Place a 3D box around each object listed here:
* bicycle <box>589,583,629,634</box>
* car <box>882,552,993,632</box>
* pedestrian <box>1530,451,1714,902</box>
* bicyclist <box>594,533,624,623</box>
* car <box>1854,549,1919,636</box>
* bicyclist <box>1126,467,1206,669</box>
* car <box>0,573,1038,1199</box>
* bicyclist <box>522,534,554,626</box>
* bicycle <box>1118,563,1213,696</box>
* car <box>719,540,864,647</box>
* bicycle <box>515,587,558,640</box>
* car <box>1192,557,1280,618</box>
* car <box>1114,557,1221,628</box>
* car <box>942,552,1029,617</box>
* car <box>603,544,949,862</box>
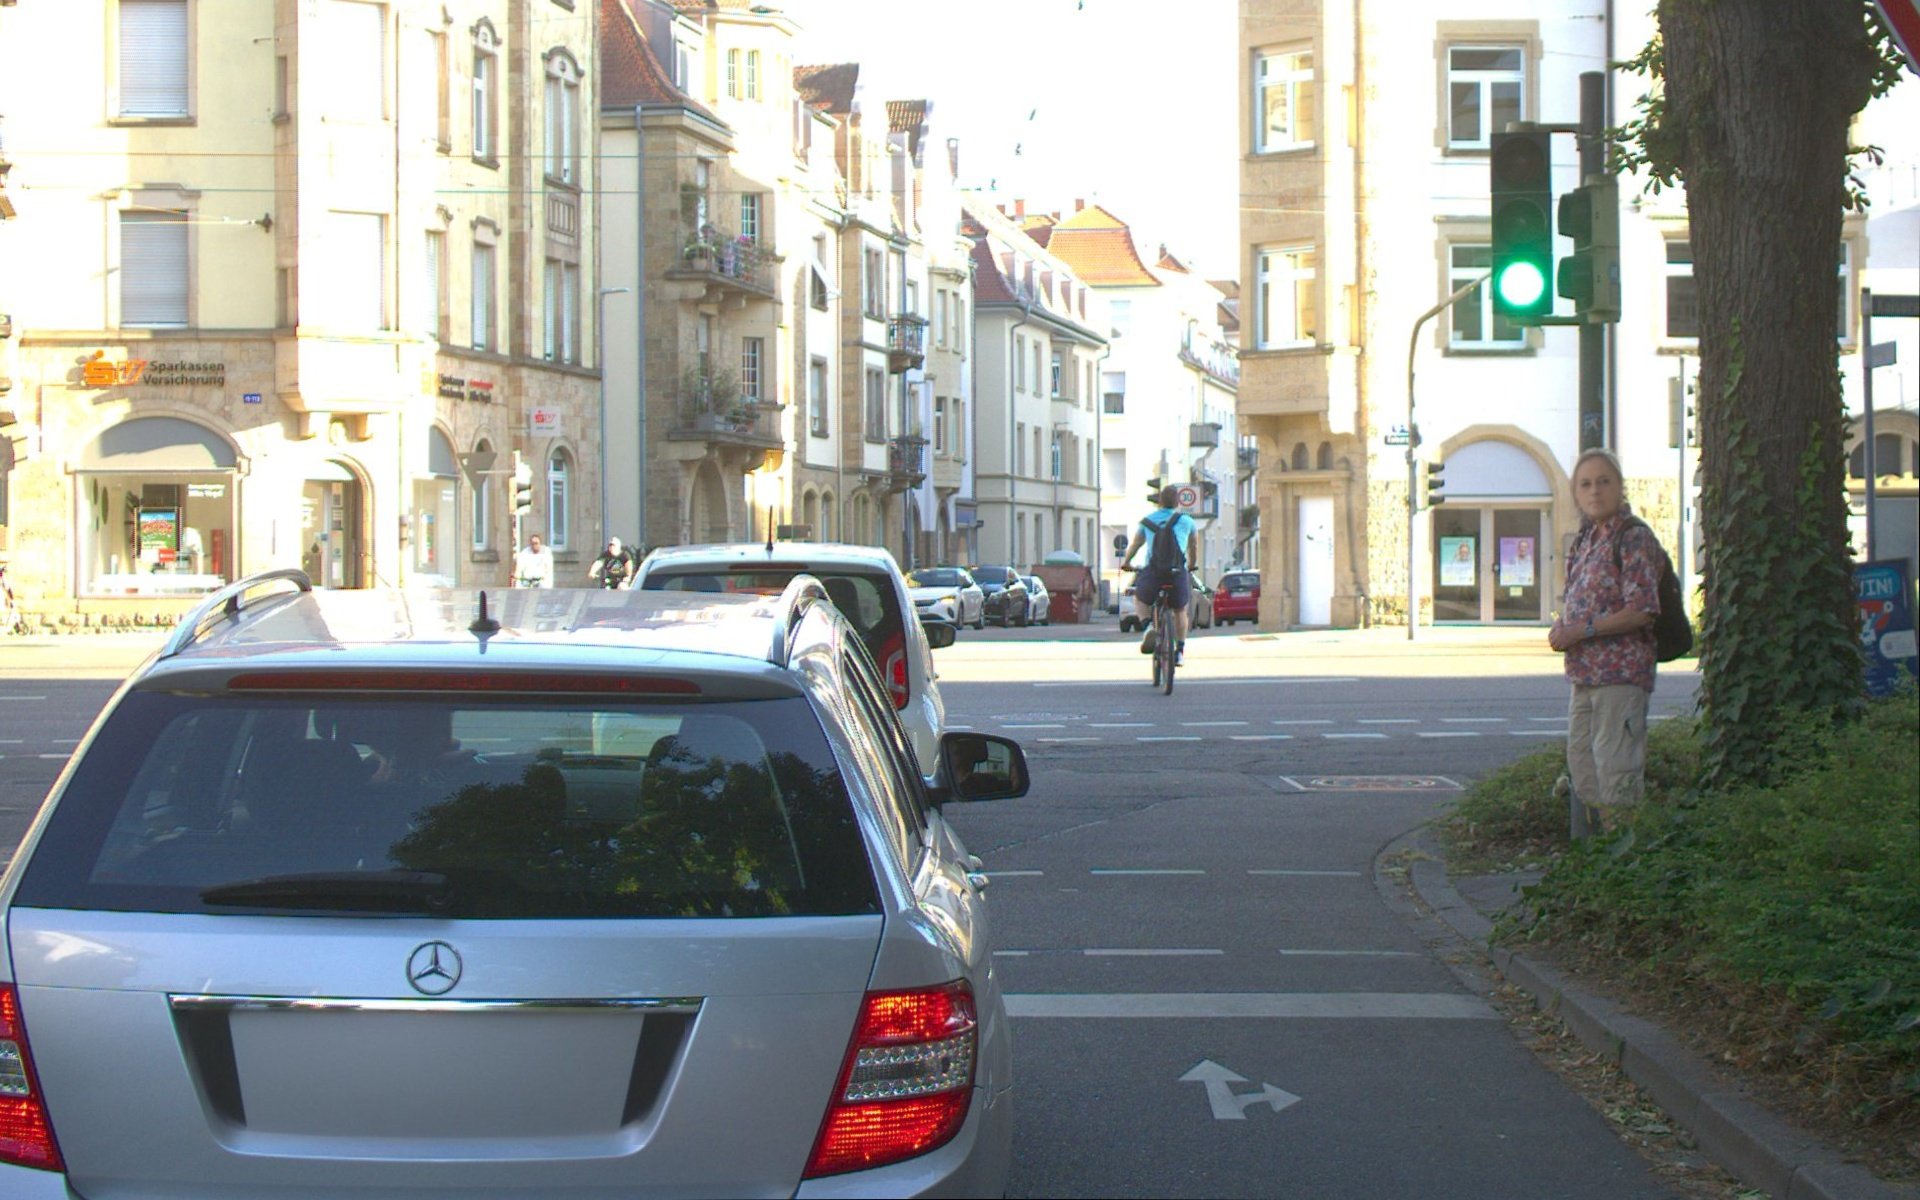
[{"bbox_3d":[-5.944,0.141,58.290,0.568,0.832,1.566,0,1,-2],"label":"bicycle"},{"bbox_3d":[-0.479,-0.200,77.138,1.687,1.716,3.998,0,1,12],"label":"car"},{"bbox_3d":[2.747,0.308,14.302,0.631,1.838,0.575,0,1,-3],"label":"pedestrian"},{"bbox_3d":[-5.945,-0.381,58.271,0.466,1.515,0.694,0,1,-2],"label":"bicyclist"},{"bbox_3d":[13.000,-0.107,42.833,3.364,1.065,1.380,0,1,0],"label":"car"},{"bbox_3d":[1.829,-0.288,30.600,0.646,1.769,0.831,1,1,1],"label":"bicyclist"},{"bbox_3d":[-0.799,0.695,6.515,1.690,1.424,3.493,1,1,-2],"label":"car"},{"bbox_3d":[-6.987,-0.330,56.895,0.466,1.509,0.655,0,1,-2],"label":"bicyclist"},{"bbox_3d":[1.822,0.242,30.718,0.742,1.114,2.013,1,1,1],"label":"bicycle"},{"bbox_3d":[-3.168,-0.154,65.554,1.938,1.952,4.148,0,1,9],"label":"car"},{"bbox_3d":[-7.000,0.213,56.863,0.568,0.832,1.566,0,1,-2],"label":"bicycle"},{"bbox_3d":[7.629,-0.364,94.851,1.722,1.473,3.998,-4,1,14],"label":"car"},{"bbox_3d":[4.786,-0.184,78.823,1.722,1.473,3.998,-2,1,13],"label":"car"},{"bbox_3d":[0.735,-0.422,95.387,1.651,1.777,3.861,0,0,12],"label":"car"},{"bbox_3d":[-0.841,0.432,17.136,1.533,1.386,3.599,0,1,-1],"label":"car"}]
